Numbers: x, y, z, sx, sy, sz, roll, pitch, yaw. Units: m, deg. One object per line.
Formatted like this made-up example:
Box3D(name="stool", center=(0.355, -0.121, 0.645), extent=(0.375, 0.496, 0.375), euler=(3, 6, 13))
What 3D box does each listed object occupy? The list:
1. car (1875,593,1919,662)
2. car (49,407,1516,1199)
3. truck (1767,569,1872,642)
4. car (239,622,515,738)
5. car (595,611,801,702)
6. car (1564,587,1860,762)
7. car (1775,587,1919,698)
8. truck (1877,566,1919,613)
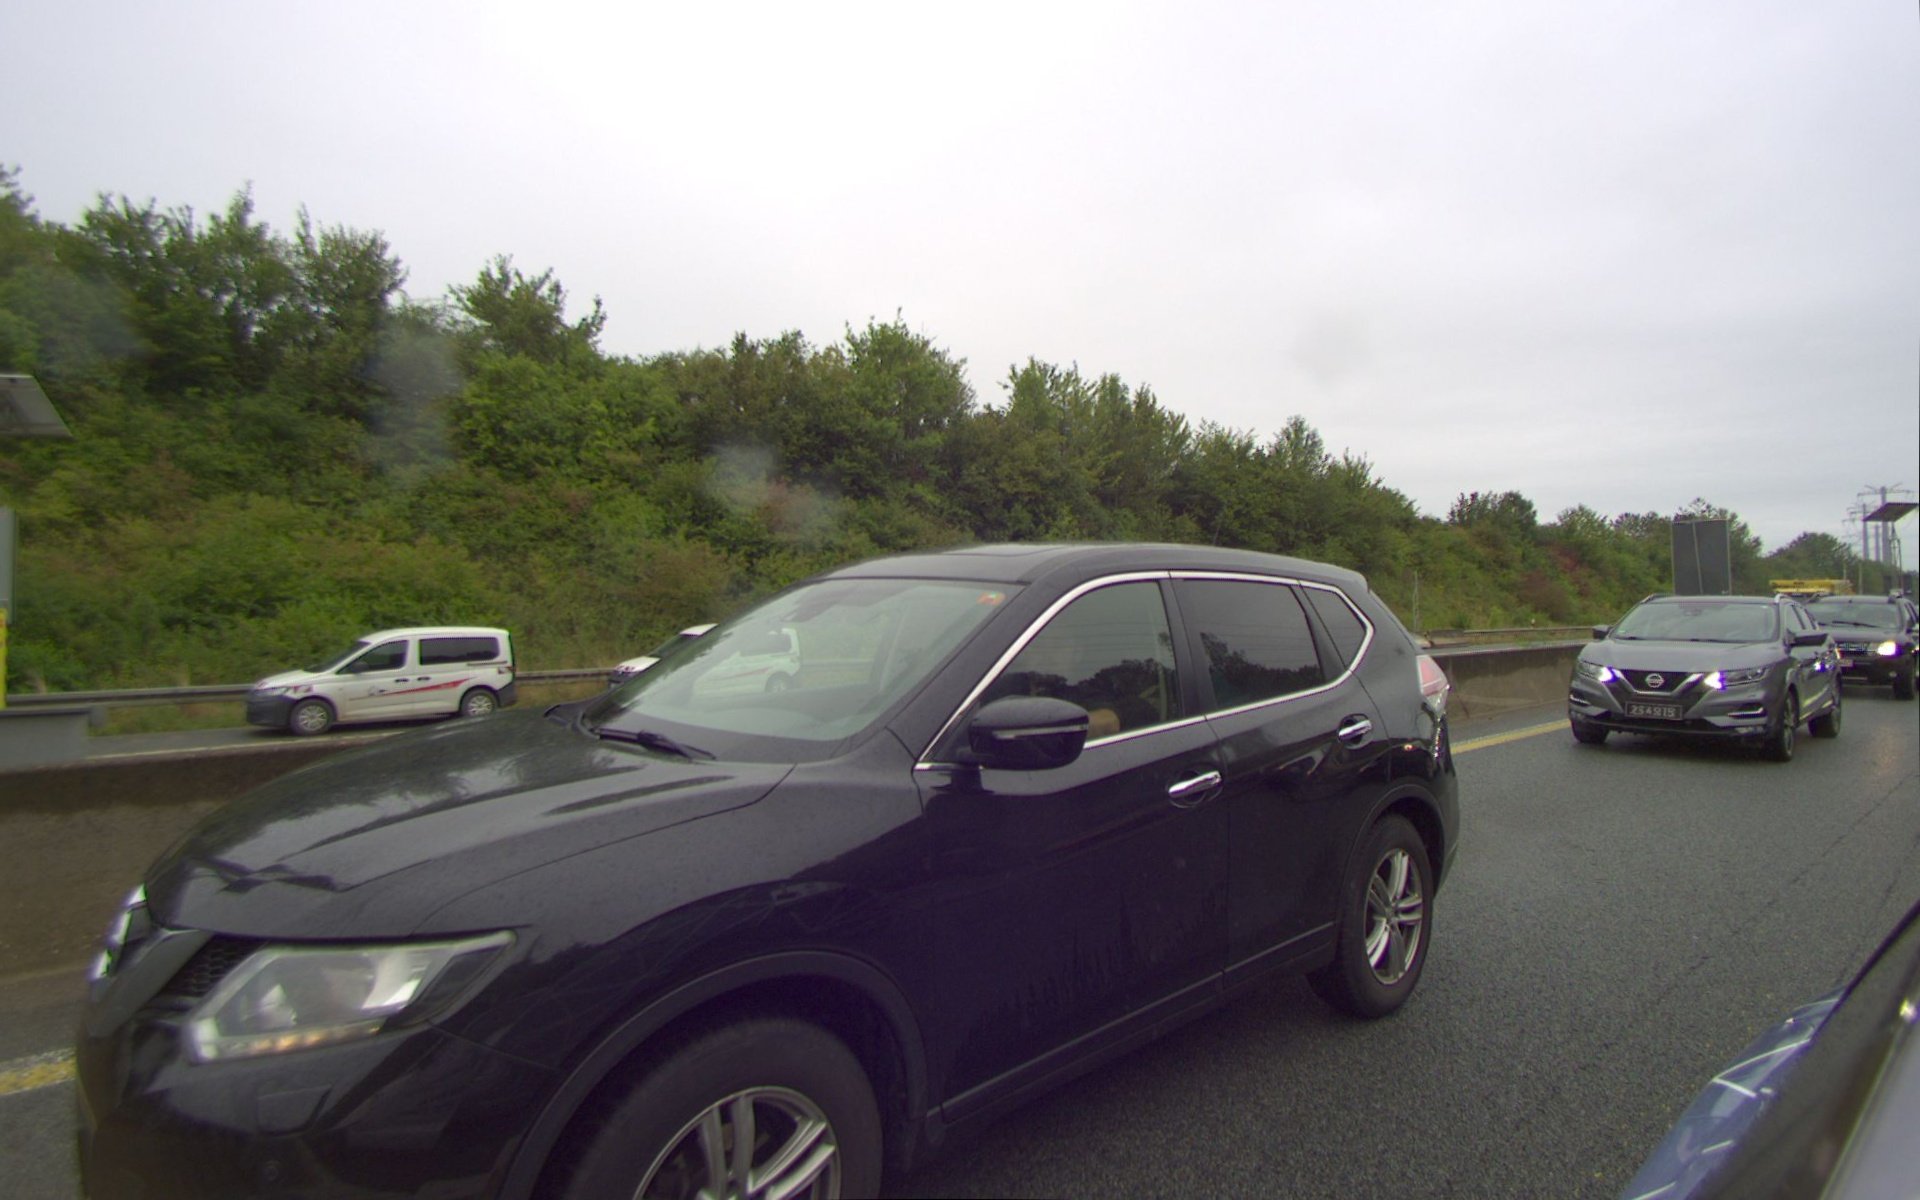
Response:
Box3D(name="car", center=(23.124, 0.607, 23.948), extent=(4.053, 1.509, 1.782), euler=(-1, 1, -42))
Box3D(name="car", center=(0.013, 0.597, 3.414), extent=(4.562, 1.696, 1.892), euler=(-1, 1, -42))
Box3D(name="truck", center=(44.798, 0.209, 52.629), extent=(9.406, 3.467, 2.618), euler=(-1, 0, -40))
Box3D(name="car", center=(-10.734, 1.372, 18.807), extent=(4.195, 1.780, 1.731), euler=(-1, 1, -42))
Box3D(name="car", center=(-5.911, 1.208, 23.130), extent=(4.255, 1.792, 1.731), euler=(-1, 1, -42))
Box3D(name="car", center=(8.112, 0.623, 10.777), extent=(4.053, 1.509, 1.782), euler=(-1, 1, -42))
Box3D(name="car", center=(15.055, 0.606, 16.791), extent=(4.053, 1.618, 1.782), euler=(-1, 1, -42))
Box3D(name="truck", center=(74.074, -0.818, 78.302), extent=(9.406, 3.467, 3.328), euler=(-1, 0, -40))
